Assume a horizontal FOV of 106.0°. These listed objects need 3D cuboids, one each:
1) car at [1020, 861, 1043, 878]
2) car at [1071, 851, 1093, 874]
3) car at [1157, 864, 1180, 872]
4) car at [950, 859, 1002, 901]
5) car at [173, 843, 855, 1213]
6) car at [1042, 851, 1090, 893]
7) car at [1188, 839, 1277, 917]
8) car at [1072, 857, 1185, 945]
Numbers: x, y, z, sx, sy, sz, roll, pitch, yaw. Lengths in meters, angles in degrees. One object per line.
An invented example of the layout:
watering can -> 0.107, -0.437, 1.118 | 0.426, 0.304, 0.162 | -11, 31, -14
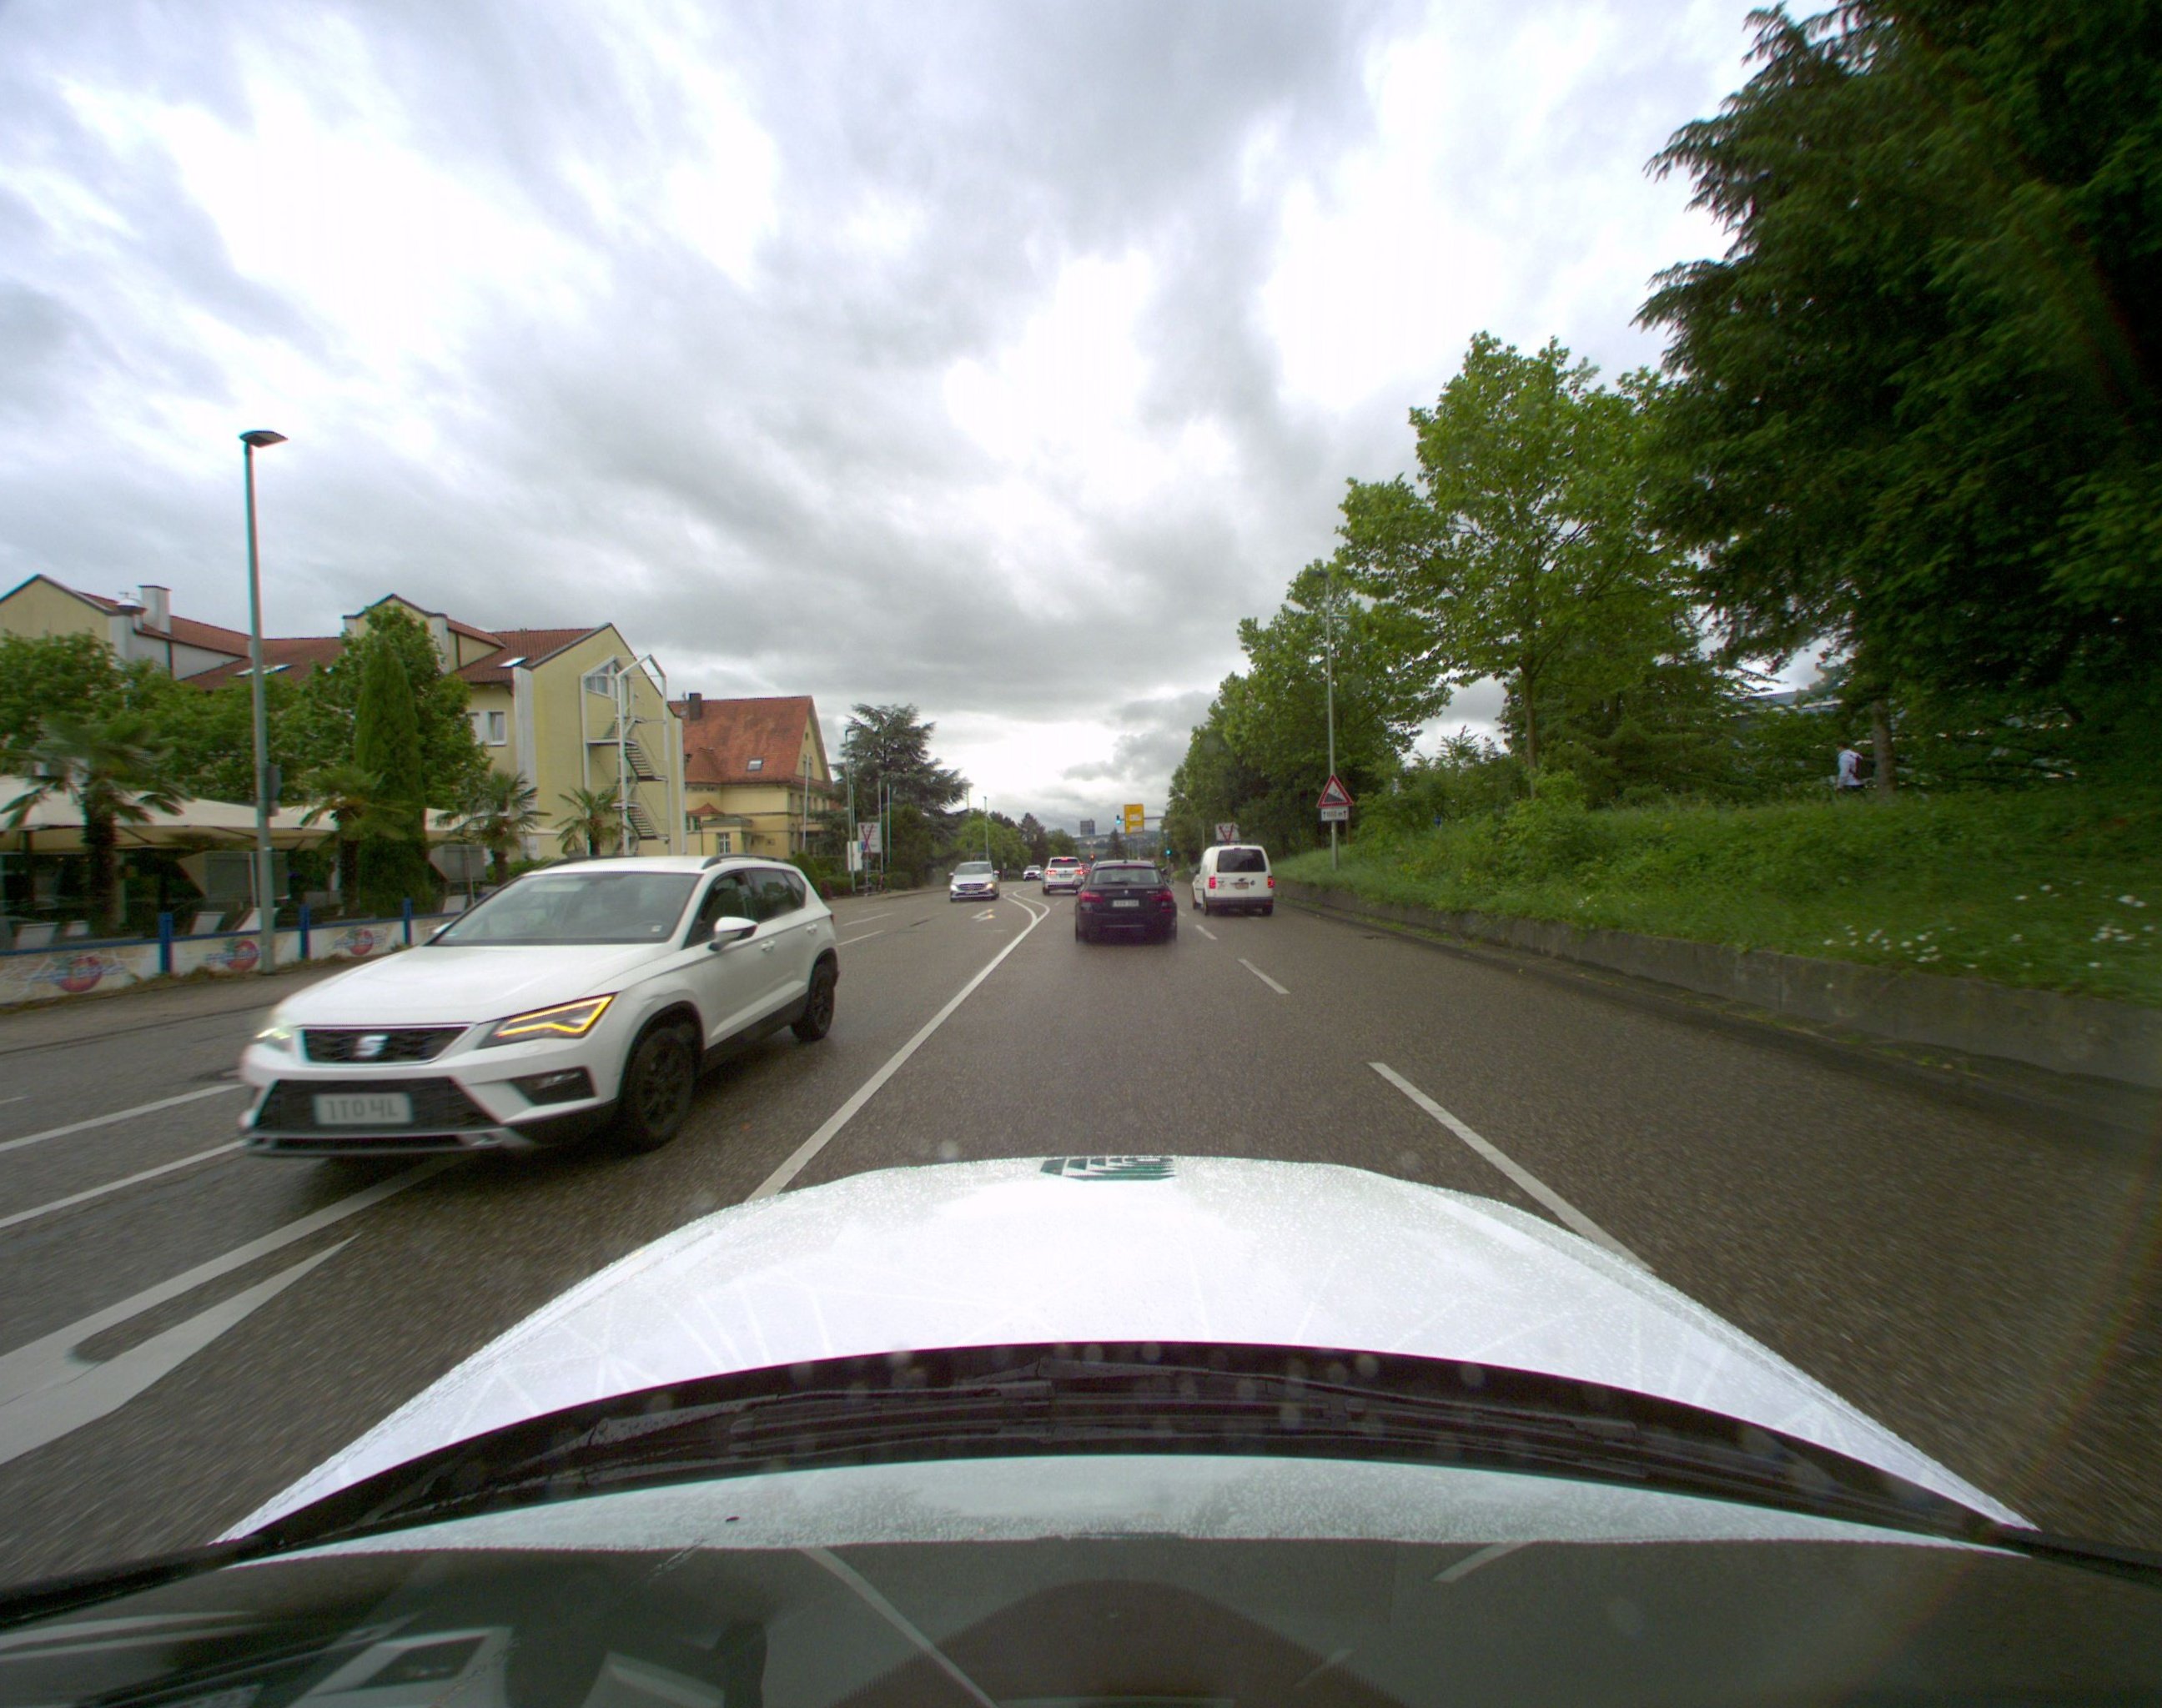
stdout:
car -> -5.751, 1.808, 95.151 | 1.909, 1.763, 5.147 | -4, -1, 3
car -> 0.128, 0.776, 75.554 | 1.803, 2.088, 3.853 | -1, 0, 3
car -> 15.471, 2.490, 143.605 | 3.966, 1.376, 1.588 | -1, -1, 6
car -> -4.181, 1.008, 33.067 | 1.746, 1.508, 4.296 | -2, -1, -4
car -> -3.102, 0.780, 5.733 | 1.781, 1.581, 4.238 | -2, 0, 0
car -> -0.617, 0.762, 36.663 | 1.861, 1.673, 4.004 | -1, 1, 3
car -> 3.980, 0.558, 21.953 | 1.758, 1.877, 3.807 | -1, 1, 2
car -> 0.904, 0.805, 15.789 | 1.891, 1.441, 4.003 | -1, 0, 3
